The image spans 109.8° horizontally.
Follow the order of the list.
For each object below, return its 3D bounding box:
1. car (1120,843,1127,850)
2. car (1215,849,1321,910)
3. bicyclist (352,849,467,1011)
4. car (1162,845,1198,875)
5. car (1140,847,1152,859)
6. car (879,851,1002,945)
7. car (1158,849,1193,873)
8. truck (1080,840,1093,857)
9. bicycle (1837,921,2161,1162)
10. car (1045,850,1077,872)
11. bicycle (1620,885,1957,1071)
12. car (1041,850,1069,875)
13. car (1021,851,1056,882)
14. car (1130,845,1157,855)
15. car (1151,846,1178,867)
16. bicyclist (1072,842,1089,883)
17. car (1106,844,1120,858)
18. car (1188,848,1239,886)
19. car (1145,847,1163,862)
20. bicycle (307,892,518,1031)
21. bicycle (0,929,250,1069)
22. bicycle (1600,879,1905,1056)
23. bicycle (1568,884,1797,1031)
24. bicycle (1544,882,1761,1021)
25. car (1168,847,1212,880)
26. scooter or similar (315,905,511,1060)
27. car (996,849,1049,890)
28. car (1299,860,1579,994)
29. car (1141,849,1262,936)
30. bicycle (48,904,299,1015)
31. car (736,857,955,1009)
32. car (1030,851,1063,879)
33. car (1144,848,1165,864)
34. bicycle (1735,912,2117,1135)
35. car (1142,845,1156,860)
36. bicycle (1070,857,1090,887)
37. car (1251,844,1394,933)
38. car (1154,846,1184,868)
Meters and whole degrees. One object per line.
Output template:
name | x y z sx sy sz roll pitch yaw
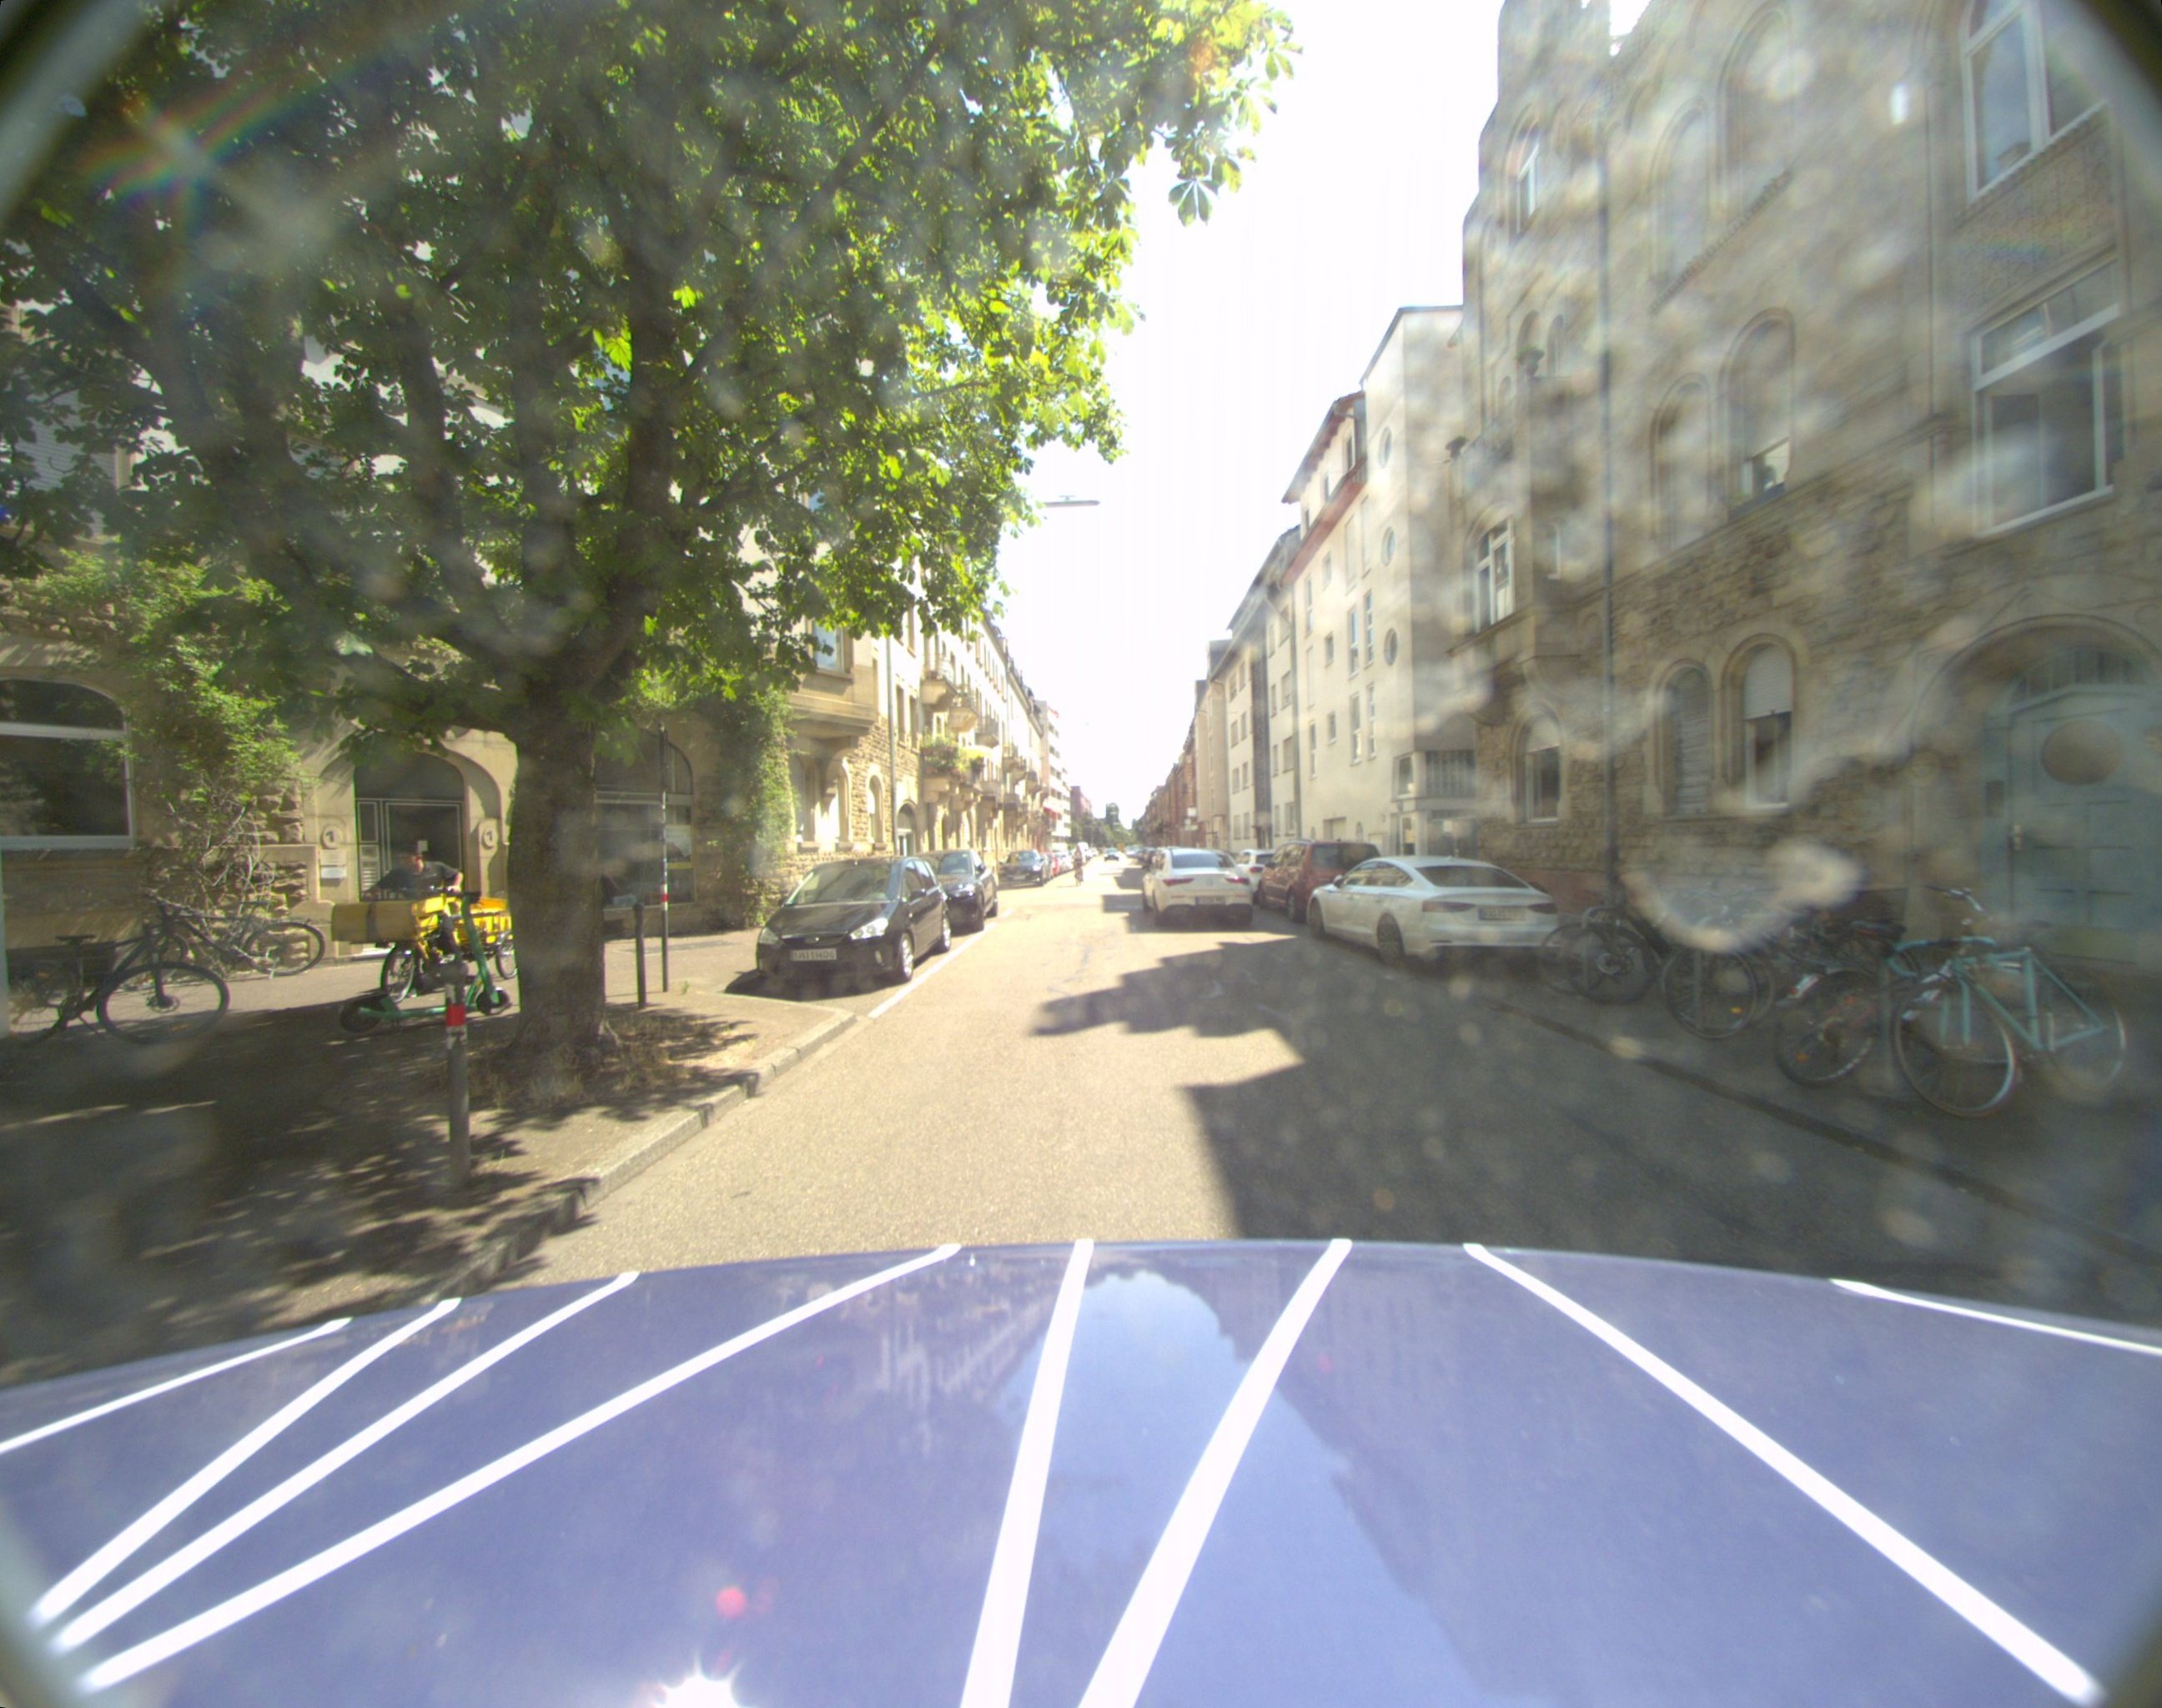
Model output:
car | 11.925 -2.153 213.127 1.784 2.002 4.001 -2 1 5
car | 4.953 0.610 20.738 1.781 1.451 4.278 1 1 0
bicyclist | -7.196 0.777 8.181 0.680 1.638 0.660 -1 2 -20
car | 5.629 0.292 43.617 1.607 1.635 3.977 1 1 1
car | 8.473 -0.151 98.862 1.449 1.391 3.526 3 1 3
car | -2.797 0.797 16.106 1.740 1.587 4.347 -4 1 0
car | 6.033 0.418 48.937 1.769 1.385 4.348 1 1 1
truck | 0.848 -0.861 124.014 1.869 2.715 4.508 -1 1 3
bicycle | 4.712 0.904 3.789 1.529 1.002 0.367 -4 1 -2
car | -1.426 0.482 55.600 1.720 1.444 4.598 -3 1 5
bicycle | 4.936 0.842 5.340 2.000 1.123 0.436 -3 2 -2
car | -1.697 0.535 50.301 1.593 1.444 3.856 -4 1 1
car | -2.162 0.625 39.277 1.516 1.391 3.972 -4 1 0
car | 9.477 -0.633 115.607 3.996 1.422 1.678 -1 1 4
car | 6.846 0.198 62.537 1.633 1.540 3.852 3 1 -1
bicyclist | 0.002 0.341 31.417 0.644 1.640 0.622 -1 1 3
car | 3.832 -0.416 91.612 1.624 1.601 3.597 -1 1 2
car | 5.659 0.498 32.784 1.571 1.483 3.893 1 1 1
car | 7.542 0.050 78.532 1.632 1.421 3.678 3 1 4
bicycle | -7.387 1.095 8.610 0.797 1.162 2.574 -1 1 -18
bicycle | -8.213 1.185 6.329 1.904 1.033 0.634 -1 1 2
bicycle | 5.086 0.837 5.790 1.977 1.123 0.395 -5 2 -2
bicycle | 5.062 0.856 6.411 1.707 1.094 0.292 -3 2 -2
bicycle | 5.045 0.846 6.724 1.707 1.094 0.292 -3 2 -2
car | 5.422 0.417 38.365 1.660 1.510 4.671 1 1 1
scooter or similar | -5.775 1.061 6.620 0.442 1.130 1.187 0 2 38
car | -2.496 0.609 33.473 1.837 1.558 4.604 -4 1 1
car | 4.568 0.819 10.575 1.706 1.345 4.514 1 1 -1
car | 2.279 0.664 15.463 1.846 1.452 4.362 1 1 1
bicycle | -10.670 1.191 9.017 0.548 1.033 1.840 0 1 35
car | -2.976 0.894 10.588 1.667 1.532 4.177 -4 1 0
car | -2.021 0.610 45.040 1.574 1.444 3.843 -3 1 2
car | 7.042 0.165 73.214 1.781 1.421 3.837 3 1 4
bicycle | 4.695 0.917 4.257 1.709 1.039 0.414 -4 2 -2
car | 8.337 -0.200 93.926 1.450 1.633 3.525 3 1 2
bicycle | -0.020 0.714 31.348 0.671 1.169 2.094 -1 1 3
car | 4.857 0.603 15.869 1.676 1.574 4.052 1 1 0
car | 6.390 0.212 55.529 1.734 1.486 4.348 1 1 1
